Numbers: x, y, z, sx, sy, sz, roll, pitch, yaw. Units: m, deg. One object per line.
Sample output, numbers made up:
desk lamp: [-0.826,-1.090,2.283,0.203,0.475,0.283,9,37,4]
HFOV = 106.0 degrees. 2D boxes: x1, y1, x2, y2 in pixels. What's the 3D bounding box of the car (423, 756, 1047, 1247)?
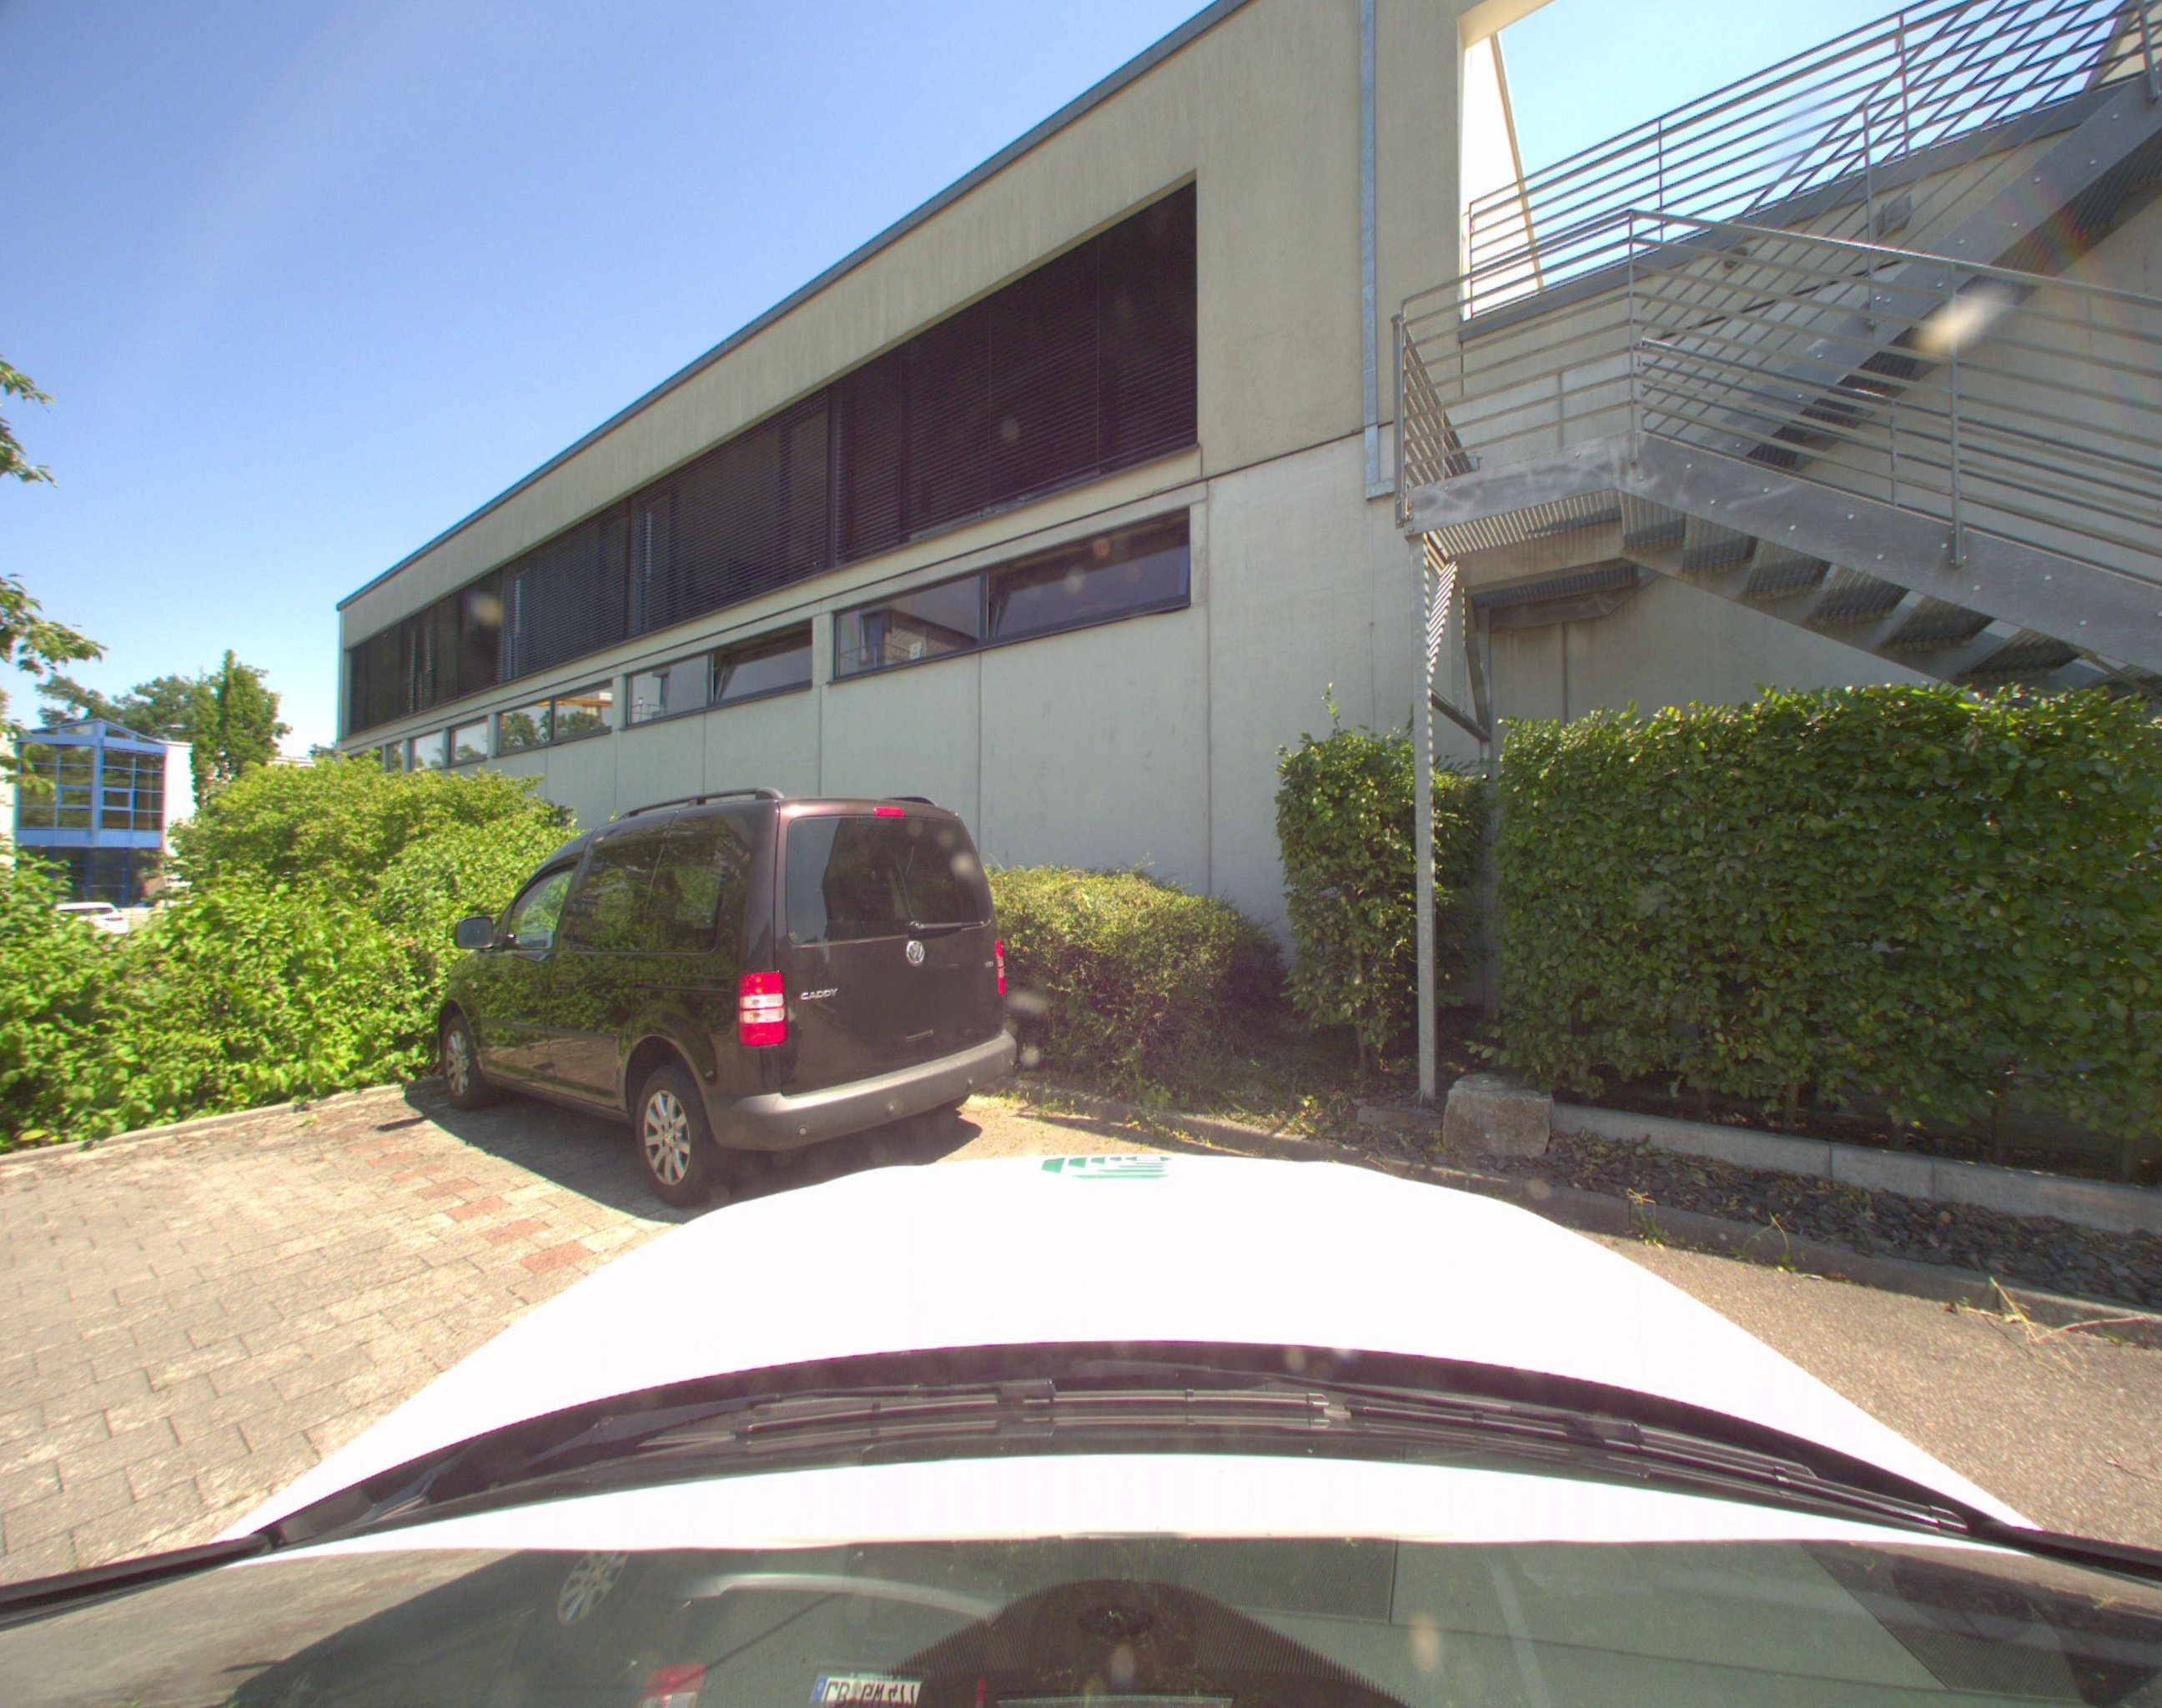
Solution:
car: [-2.318,0.590,4.997,4.018,1.884,1.689,-1,-1,36]
